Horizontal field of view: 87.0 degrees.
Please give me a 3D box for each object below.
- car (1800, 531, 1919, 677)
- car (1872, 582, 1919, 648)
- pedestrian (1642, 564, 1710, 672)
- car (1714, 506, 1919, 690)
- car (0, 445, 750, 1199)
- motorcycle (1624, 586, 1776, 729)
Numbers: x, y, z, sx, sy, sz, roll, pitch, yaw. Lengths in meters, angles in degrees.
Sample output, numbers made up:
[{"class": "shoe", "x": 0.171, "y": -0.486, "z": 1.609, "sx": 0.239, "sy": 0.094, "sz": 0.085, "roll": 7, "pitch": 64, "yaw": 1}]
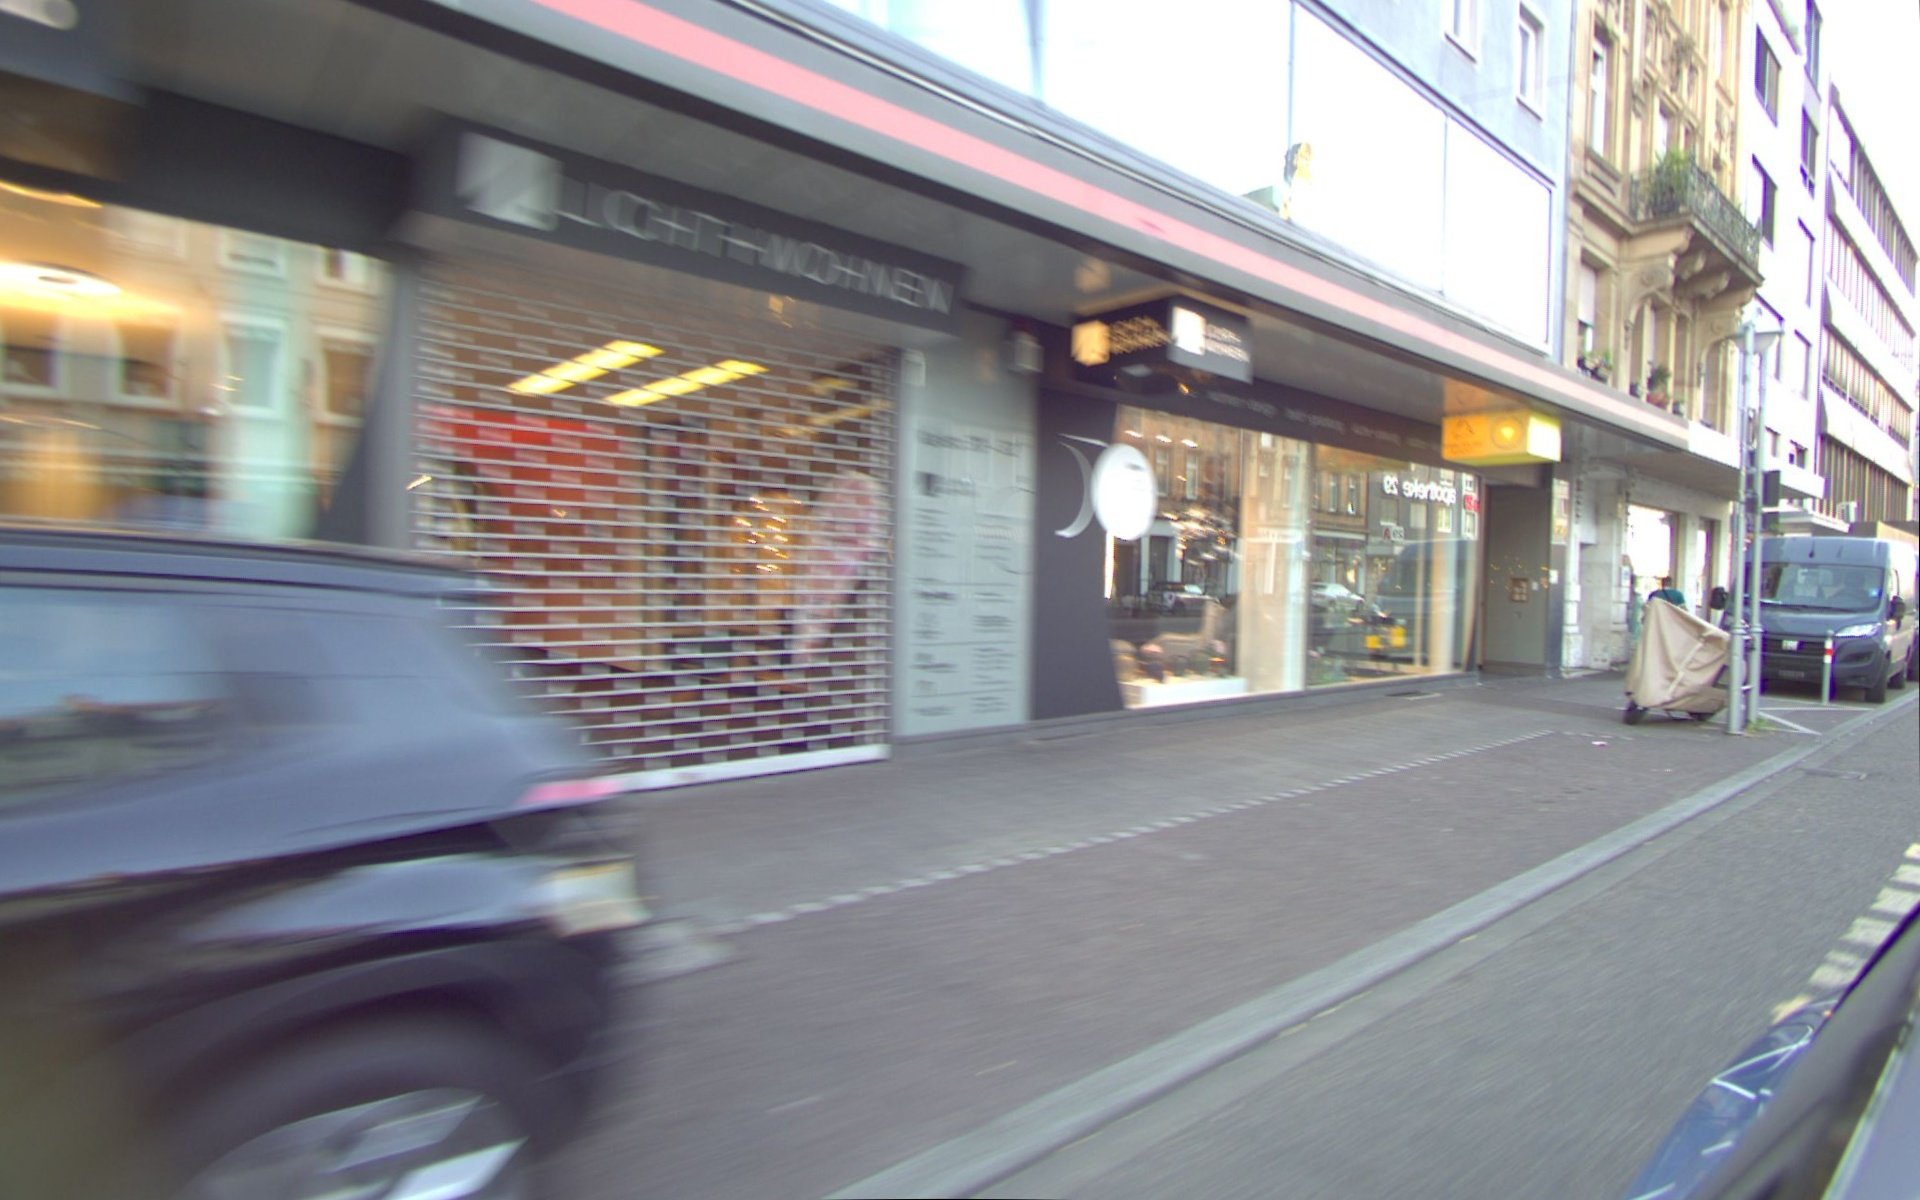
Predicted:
[{"class": "car", "x": 18.756, "y": 0.036, "z": 20.336, "sx": 5.506, "sy": 2.606, "sz": 1.997, "roll": -1, "pitch": 0, "yaw": -41}, {"class": "car", "x": 25.984, "y": 0.380, "z": 27.237, "sx": 3.778, "sy": 1.672, "sz": 1.638, "roll": 0, "pitch": 2, "yaw": -41}, {"class": "pedestrian", "x": 12.388, "y": 0.283, "z": 17.509, "sx": 0.776, "sy": 1.777, "sz": 0.742, "roll": -1, "pitch": 4, "yaw": -44}, {"class": "car", "x": 14.052, "y": -0.058, "z": 16.288, "sx": 5.509, "sy": 2.479, "sz": 2.077, "roll": -1, "pitch": 0, "yaw": -42}, {"class": "car", "x": -2.465, "y": 0.557, "z": 1.467, "sx": 3.897, "sy": 1.560, "sz": 1.743, "roll": -1, "pitch": 2, "yaw": -41}, {"class": "motorcycle", "x": 8.382, "y": 0.578, "z": 11.413, "sx": 2.591, "sy": 1.421, "sz": 0.784, "roll": 0, "pitch": 3, "yaw": -41}]
